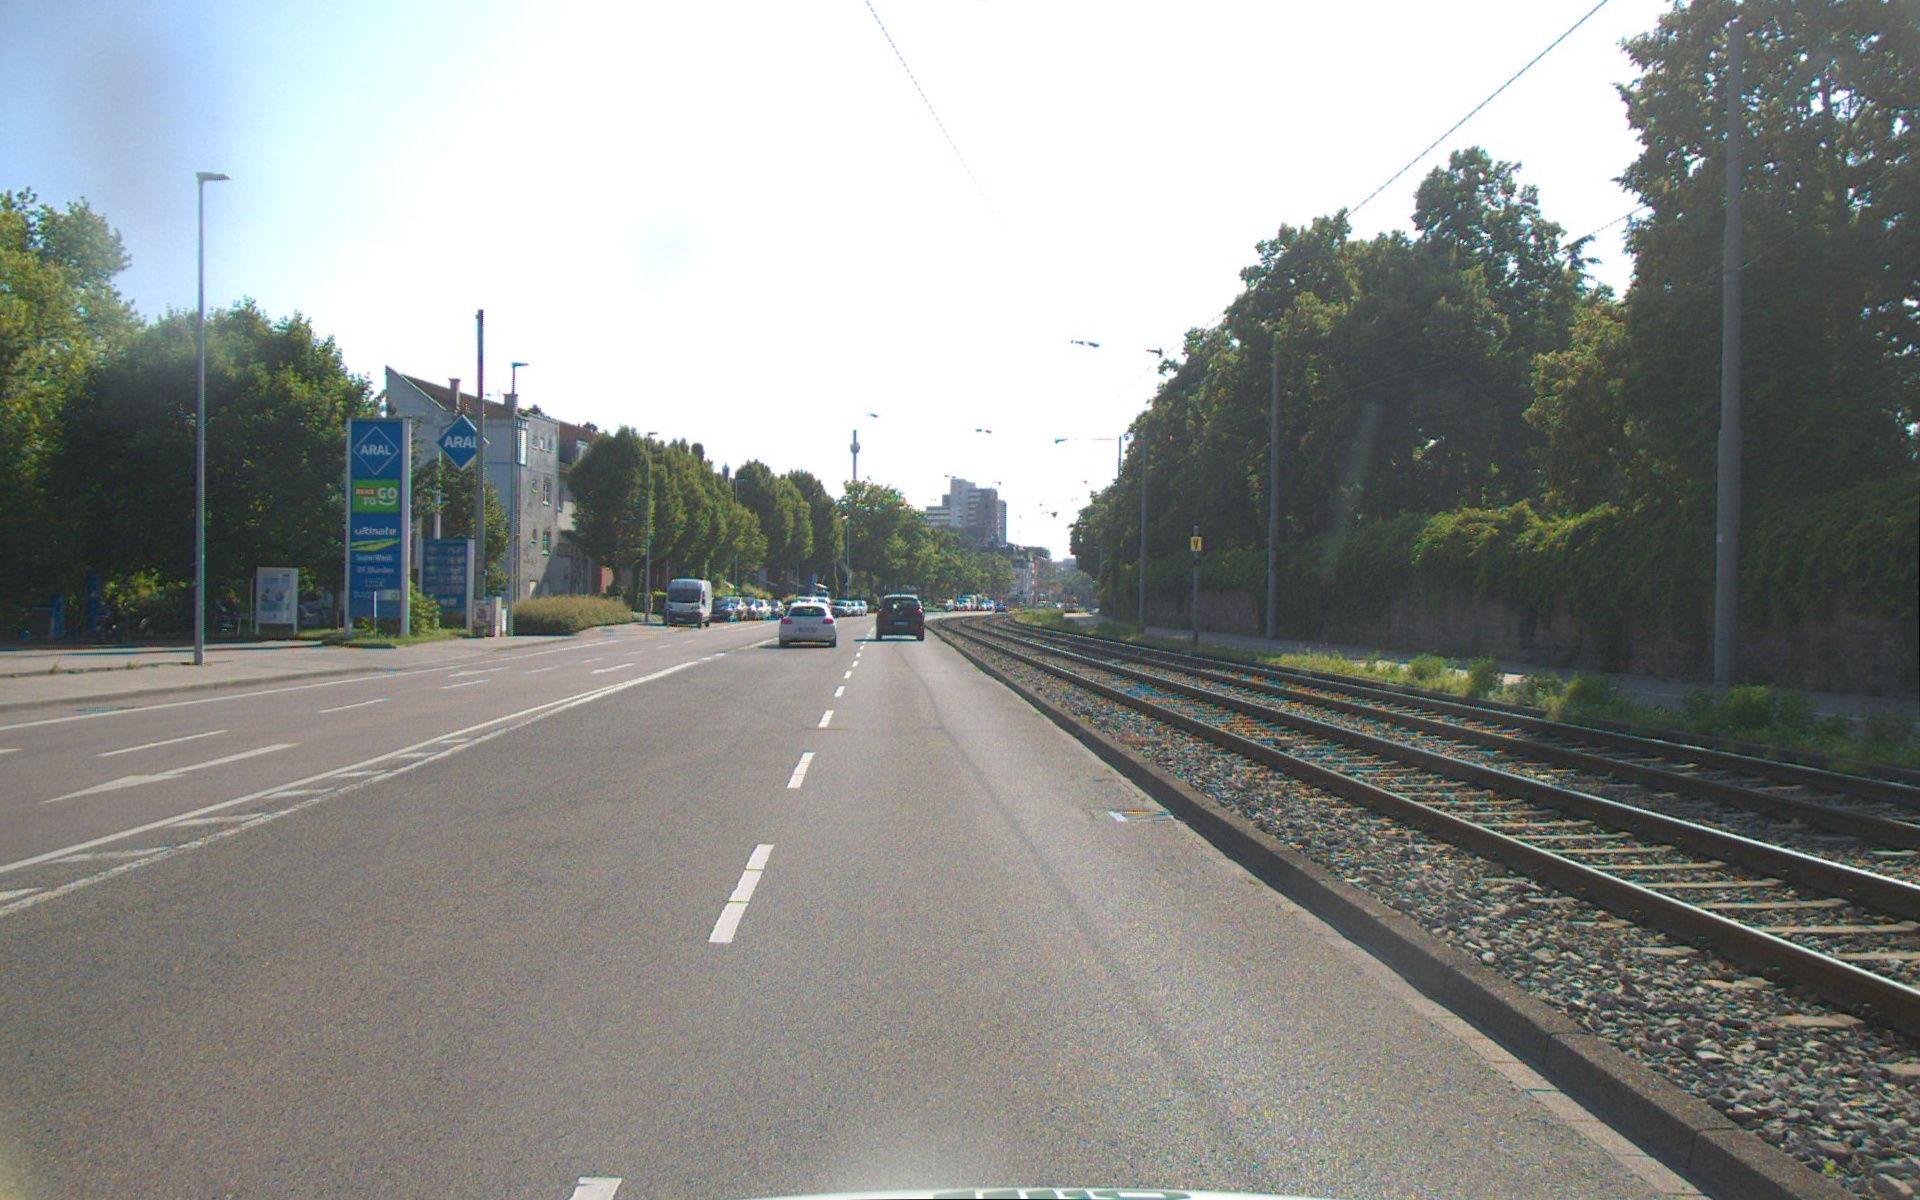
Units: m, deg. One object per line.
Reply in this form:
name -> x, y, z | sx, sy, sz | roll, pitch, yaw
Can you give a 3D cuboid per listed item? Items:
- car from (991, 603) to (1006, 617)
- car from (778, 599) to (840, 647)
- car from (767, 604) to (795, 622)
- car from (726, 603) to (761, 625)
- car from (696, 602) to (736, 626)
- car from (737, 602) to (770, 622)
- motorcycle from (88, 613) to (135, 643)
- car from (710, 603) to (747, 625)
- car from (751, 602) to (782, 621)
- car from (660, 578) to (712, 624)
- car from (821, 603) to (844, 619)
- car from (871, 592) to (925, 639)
car -> 4.958, 1.278, 213.367 | 1.688, 1.620, 3.602 | 2, 0, 3
car -> -4.730, 0.695, 52.124 | 1.745, 1.380, 3.599 | 2, 0, -3
car -> -14.929, 1.089, 138.001 | 1.953, 1.441, 3.843 | 0, 0, 0
car -> -15.101, 0.968, 115.329 | 1.953, 1.441, 3.843 | 0, 0, 0
car -> -15.263, 0.845, 103.576 | 1.953, 1.441, 3.843 | 0, 0, 0
car -> -15.036, 0.859, 120.519 | 1.953, 1.441, 3.843 | 0, 0, 0
motorcycle -> -26.636, 0.875, 51.959 | 0.657, 0.917, 1.670 | 0, 0, -2
car -> -15.302, 0.907, 109.505 | 1.953, 1.441, 3.843 | 0, 0, 0
car -> -14.805, 0.897, 126.762 | 1.953, 1.441, 3.843 | 0, 0, 0
car -> -14.564, 0.060, 88.159 | 1.952, 2.418, 4.538 | 0, 0, 1
car -> -12.269, 1.042, 159.463 | 1.953, 1.441, 3.843 | 0, 0, 0
car -> -2.318, 0.545, 61.328 | 1.691, 1.620, 3.596 | 2, 0, -7
